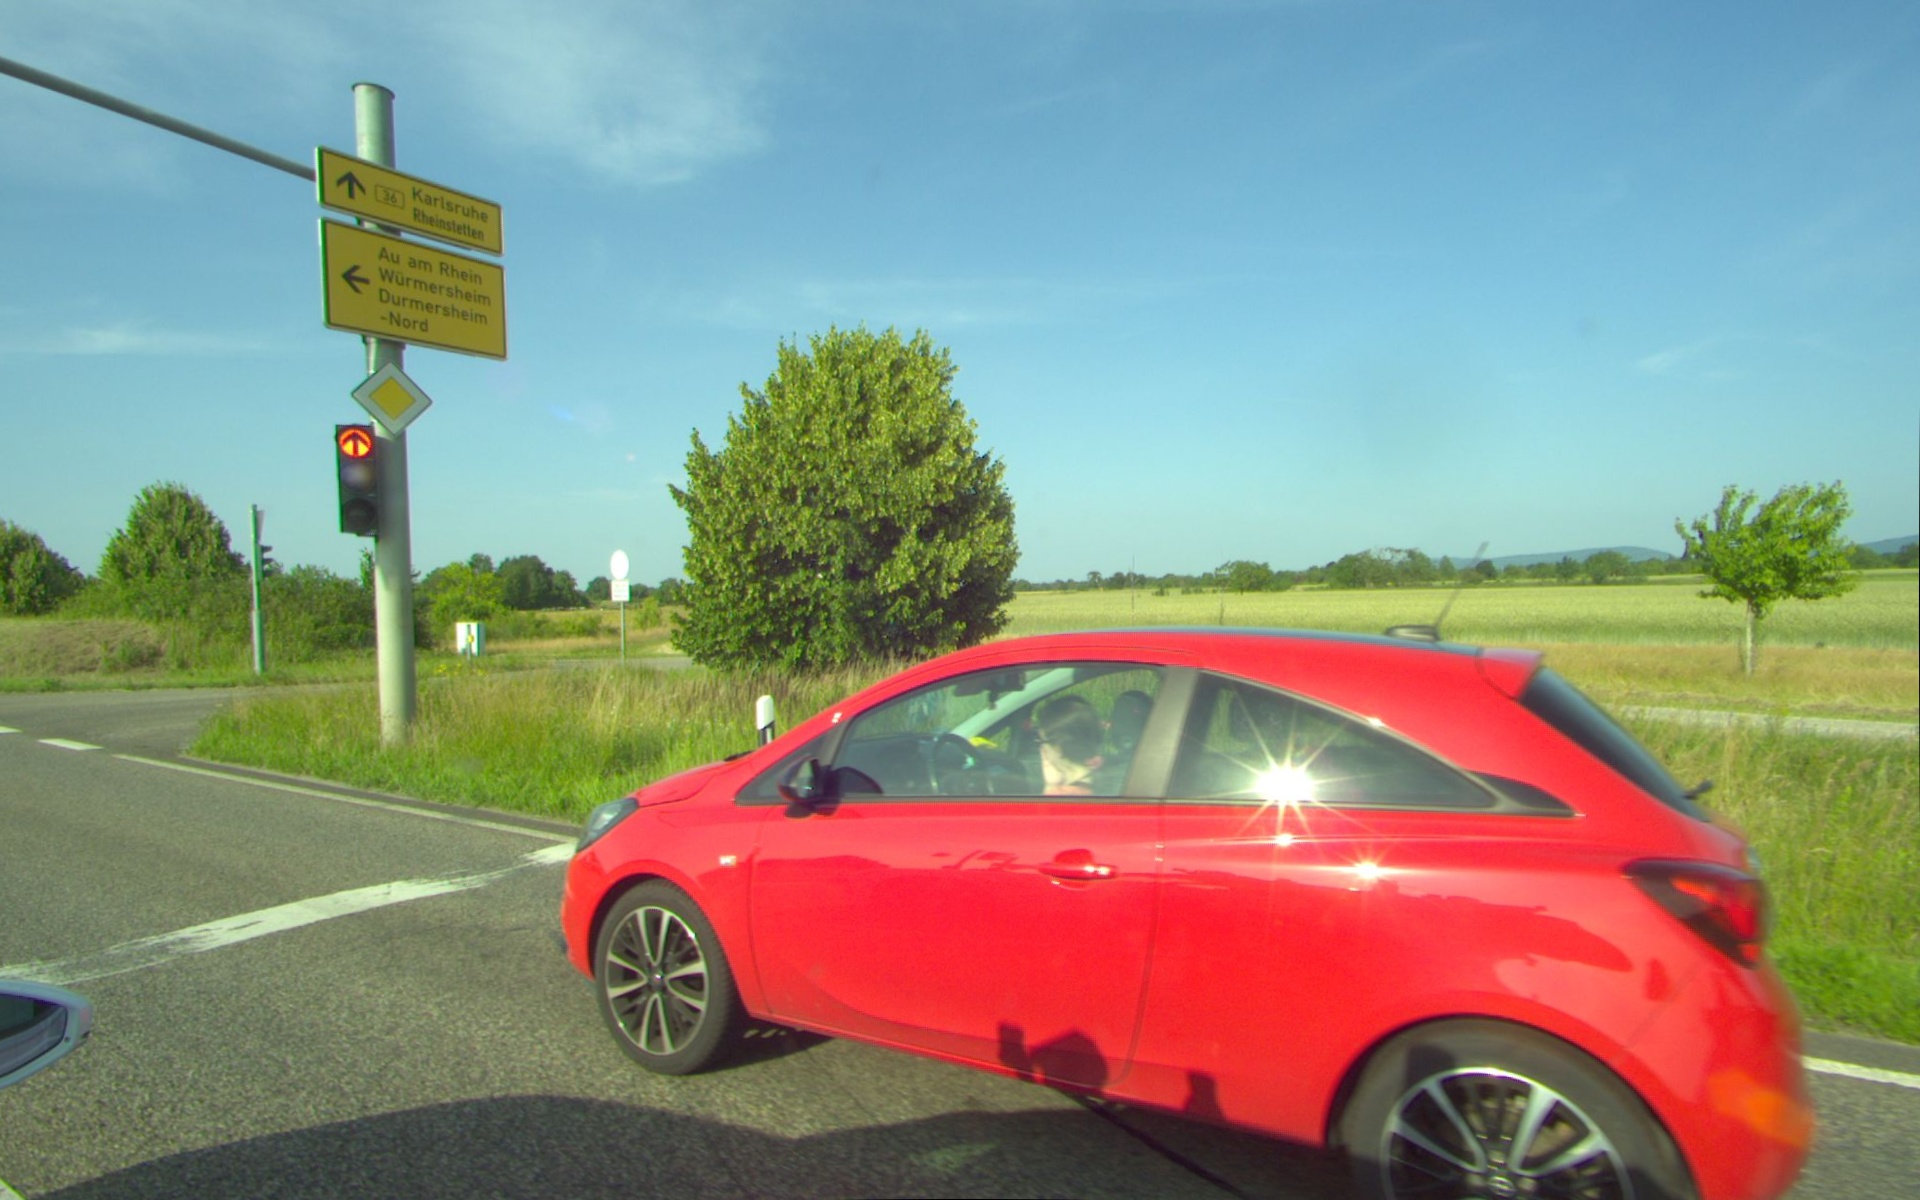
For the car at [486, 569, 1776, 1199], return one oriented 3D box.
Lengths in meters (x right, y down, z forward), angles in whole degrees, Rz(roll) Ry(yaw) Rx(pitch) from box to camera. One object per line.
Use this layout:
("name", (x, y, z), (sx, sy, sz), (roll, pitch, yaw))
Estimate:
("car", (0.291, 0.750, 3.493), (3.693, 1.569, 1.695), (0, 0, 29))
